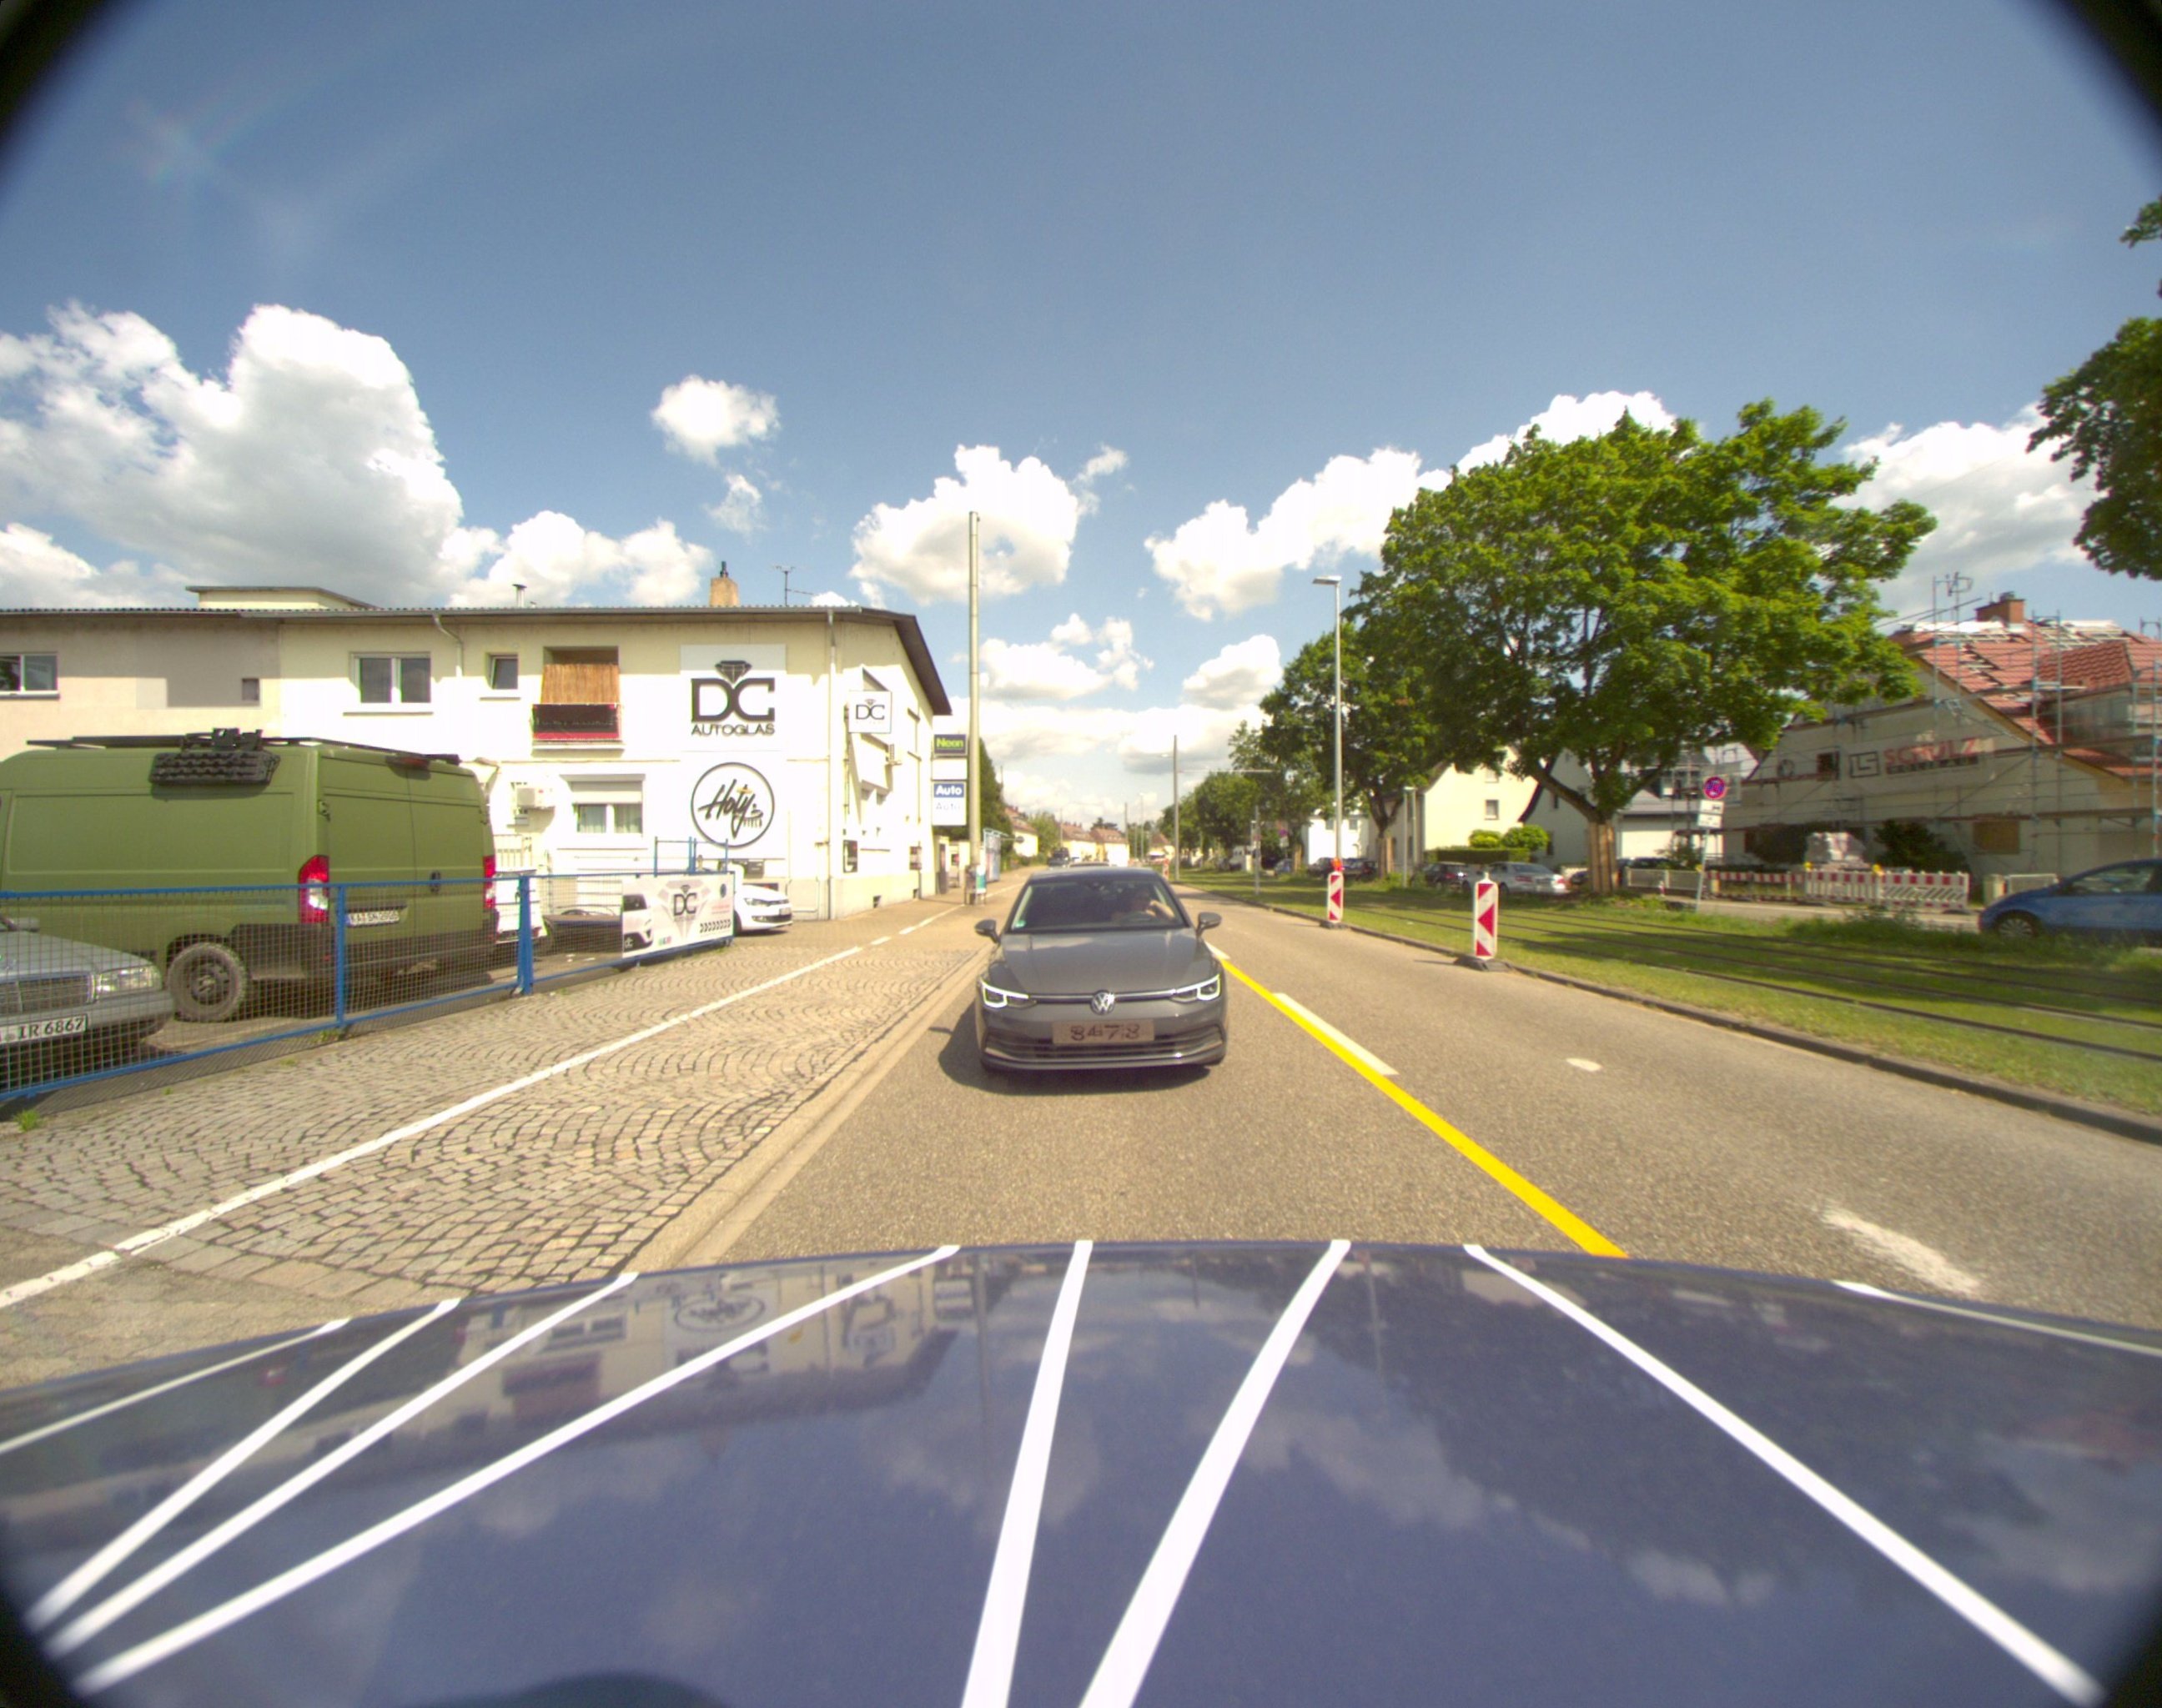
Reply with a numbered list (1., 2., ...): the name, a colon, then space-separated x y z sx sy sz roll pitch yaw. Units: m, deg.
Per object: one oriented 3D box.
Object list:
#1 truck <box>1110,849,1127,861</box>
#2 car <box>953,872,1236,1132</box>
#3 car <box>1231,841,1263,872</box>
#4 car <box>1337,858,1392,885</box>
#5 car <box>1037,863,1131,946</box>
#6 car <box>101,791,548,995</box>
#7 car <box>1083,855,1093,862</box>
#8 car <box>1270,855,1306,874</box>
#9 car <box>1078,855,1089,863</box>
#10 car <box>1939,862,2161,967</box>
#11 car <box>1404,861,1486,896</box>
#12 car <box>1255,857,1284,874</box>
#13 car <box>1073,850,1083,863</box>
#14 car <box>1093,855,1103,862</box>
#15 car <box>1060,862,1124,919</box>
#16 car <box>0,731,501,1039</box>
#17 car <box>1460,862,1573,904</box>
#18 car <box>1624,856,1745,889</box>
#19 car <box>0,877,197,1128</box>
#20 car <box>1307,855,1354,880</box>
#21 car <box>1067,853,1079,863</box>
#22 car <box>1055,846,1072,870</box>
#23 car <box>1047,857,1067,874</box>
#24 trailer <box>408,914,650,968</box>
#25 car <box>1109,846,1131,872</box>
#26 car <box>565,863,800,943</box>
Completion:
1. truck: 9.924 0.143 201.054 2.710 3.119 8.124 0 0 15
2. car: 0.107 0.940 6.582 1.702 1.477 4.000 0 0 1
3. car: 16.823 0.276 77.274 2.136 3.019 5.084 -1 -1 1
4. car: 16.775 1.039 45.158 1.702 1.477 4.407 -1 -1 1
5. car: 0.084 0.944 15.853 1.702 1.477 4.000 0 0 1
6. car: -9.496 0.462 9.752 4.207 2.392 1.586 0 0 2
7. car: 1.453 0.907 155.841 1.701 1.574 4.002 0 0 7
8. car: 16.649 0.878 61.284 1.702 1.477 4.407 -1 -1 1
9. car: 0.494 0.904 146.710 1.701 1.574 4.002 0 0 6
10. car: 16.207 0.871 11.402 1.702 1.477 4.407 -1 -1 1
11. car: 16.630 1.124 34.940 1.702 1.477 4.407 -1 -1 1
12. car: 17.652 1.080 71.330 1.702 1.477 4.407 -1 -1 1
13. car: -0.479 0.421 136.406 1.701 2.233 4.947 0 0 2
14. car: 3.858 0.912 173.600 1.700 1.574 4.004 0 0 12
15. car: 0.317 0.988 22.312 1.702 1.477 4.000 0 0 1
16. car: -8.722 0.275 7.613 4.207 2.627 2.113 0 0 2
17. car: 16.424 1.070 28.939 1.788 1.477 4.523 -1 -1 2
18. car: 28.910 0.894 36.513 4.402 1.477 1.704 -1 -1 1
19. car: -8.455 0.892 4.778 4.282 1.444 1.713 0 0 8
20. car: 16.559 0.902 50.664 1.702 1.562 4.407 -1 -1 1
21. car: -1.306 0.674 123.044 1.701 1.574 4.001 0 0 3
22. car: -1.907 0.452 82.443 1.702 2.510 5.144 0 0 0
23. car: -2.180 1.050 70.758 1.702 1.574 4.000 0 0 1
24. trailer: -8.364 1.310 11.663 2.733 0.662 1.329 0 0 -1
25. car: 3.879 0.446 76.331 2.090 2.449 5.842 2 0 2
26. car: -7.657 0.919 14.821 3.775 1.454 1.555 0 0 2
